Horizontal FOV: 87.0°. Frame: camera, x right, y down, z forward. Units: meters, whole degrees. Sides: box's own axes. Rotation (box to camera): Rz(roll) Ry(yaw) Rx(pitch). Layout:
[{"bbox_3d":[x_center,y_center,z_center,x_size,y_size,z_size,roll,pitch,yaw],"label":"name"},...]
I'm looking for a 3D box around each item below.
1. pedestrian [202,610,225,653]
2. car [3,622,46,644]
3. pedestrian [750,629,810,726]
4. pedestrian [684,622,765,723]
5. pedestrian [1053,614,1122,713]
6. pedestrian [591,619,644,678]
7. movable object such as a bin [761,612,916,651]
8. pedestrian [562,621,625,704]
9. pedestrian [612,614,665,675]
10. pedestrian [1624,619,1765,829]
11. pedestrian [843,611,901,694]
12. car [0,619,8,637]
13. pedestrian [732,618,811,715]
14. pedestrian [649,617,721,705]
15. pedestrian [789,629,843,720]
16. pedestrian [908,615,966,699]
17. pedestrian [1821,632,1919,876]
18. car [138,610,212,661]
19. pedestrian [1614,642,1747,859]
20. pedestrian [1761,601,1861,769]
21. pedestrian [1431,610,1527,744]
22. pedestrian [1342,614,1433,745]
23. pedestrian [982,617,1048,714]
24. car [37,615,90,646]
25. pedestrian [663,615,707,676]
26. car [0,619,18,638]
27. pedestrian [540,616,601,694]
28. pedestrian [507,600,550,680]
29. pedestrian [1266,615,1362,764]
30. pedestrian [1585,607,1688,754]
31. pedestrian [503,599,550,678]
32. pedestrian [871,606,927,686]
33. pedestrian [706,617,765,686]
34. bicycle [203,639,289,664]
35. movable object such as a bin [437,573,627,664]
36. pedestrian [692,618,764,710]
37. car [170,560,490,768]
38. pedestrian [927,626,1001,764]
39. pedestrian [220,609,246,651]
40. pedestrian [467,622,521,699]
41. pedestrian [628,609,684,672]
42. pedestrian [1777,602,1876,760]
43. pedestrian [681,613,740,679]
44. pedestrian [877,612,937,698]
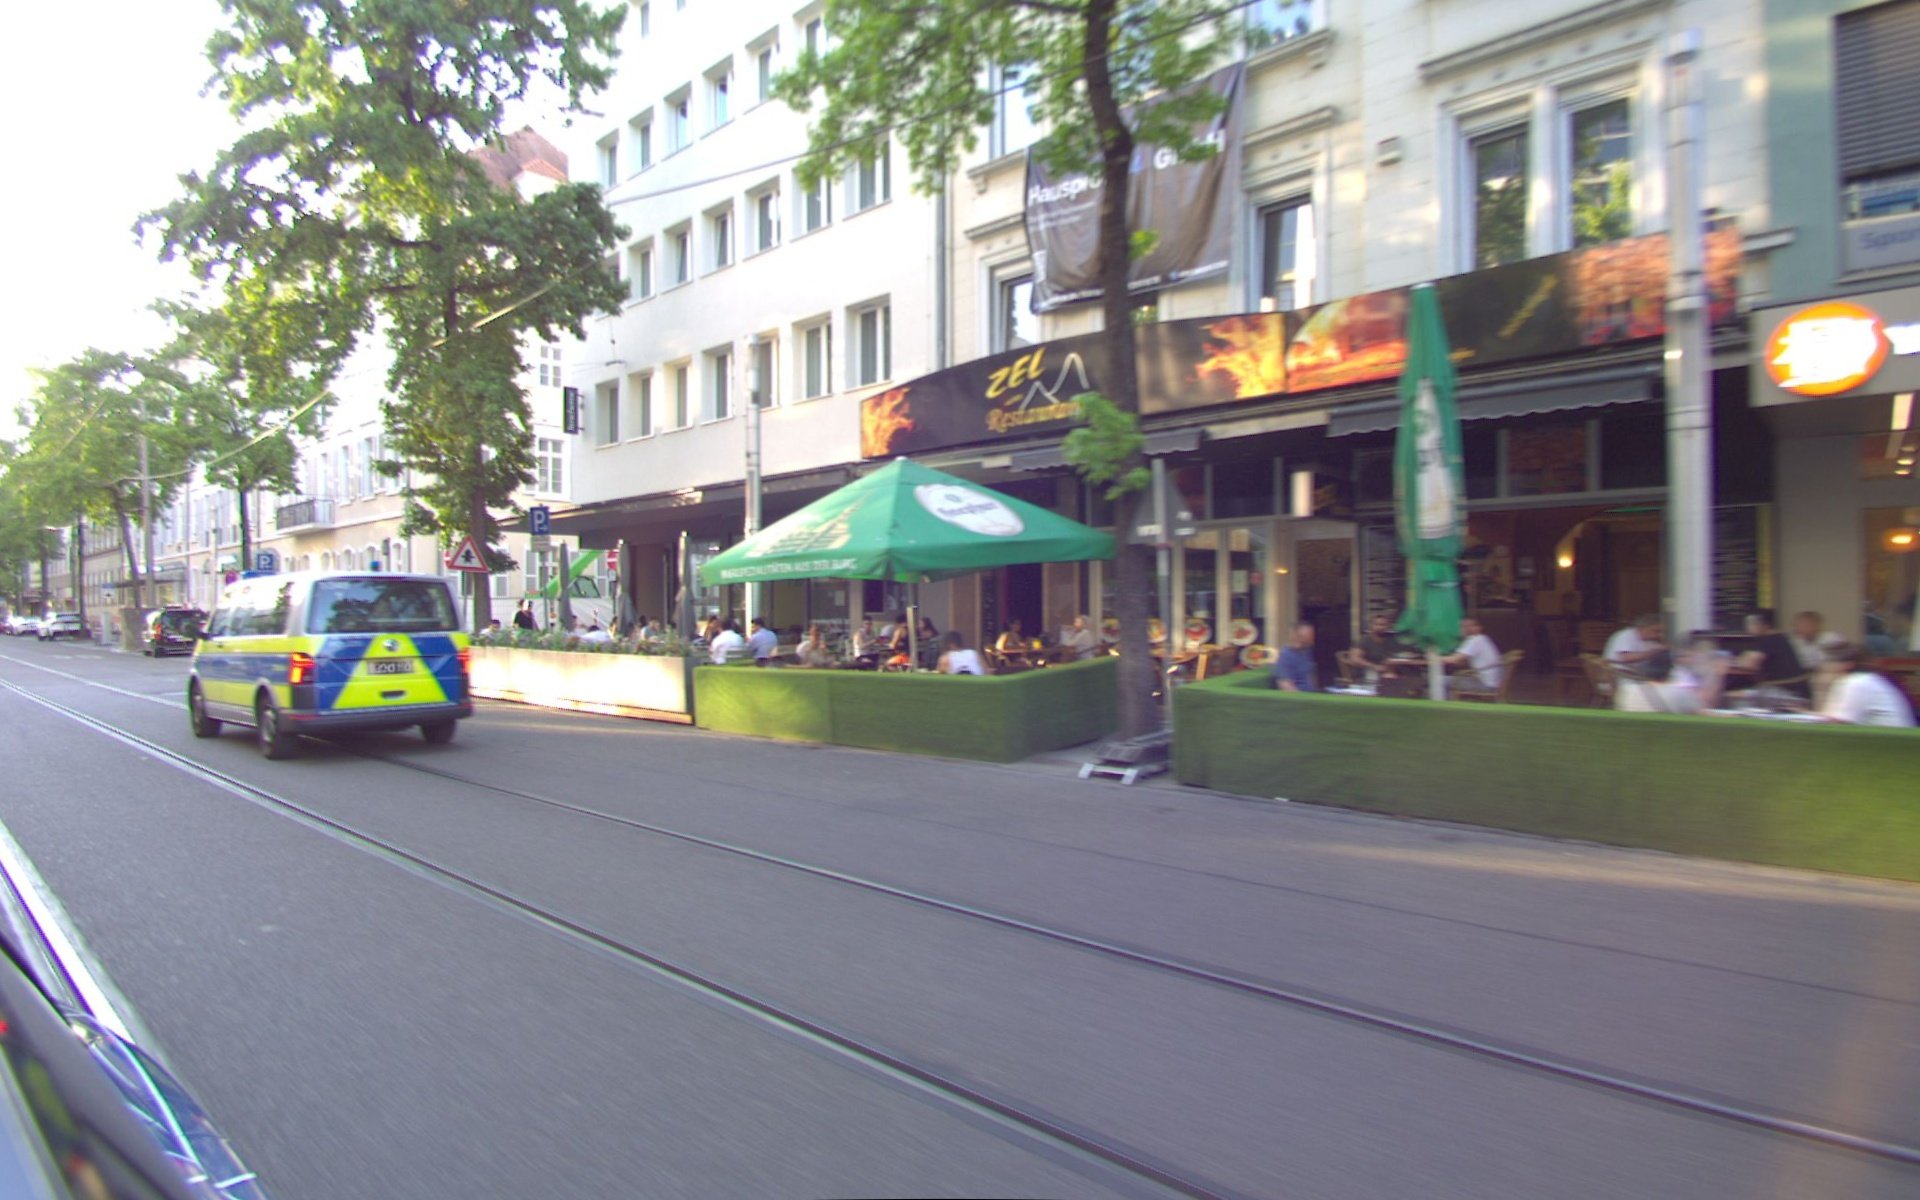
[{"bbox_3d":[-33.886,1.399,45.930,0.769,1.898,0.670,-1,1,43],"label":"pedestrian"},{"bbox_3d":[-67.554,2.340,73.068,4.104,1.514,1.972,-1,-1,42],"label":"car"},{"bbox_3d":[-2.441,1.034,13.730,0.544,1.245,0.579,-1,0,44],"label":"pedestrian"},{"bbox_3d":[-3.434,1.027,14.755,1.012,1.372,0.708,-1,0,44],"label":"pedestrian"},{"bbox_3d":[1.881,0.910,14.938,0.765,1.388,0.647,0,0,43],"label":"pedestrian"},{"bbox_3d":[-8.078,1.118,23.863,0.875,1.330,0.882,-1,0,-45],"label":"pedestrian"},{"bbox_3d":[-5.570,1.454,47.601,2.898,1.677,7.195,0,-1,40],"label":"movable object such as a bin"},{"bbox_3d":[-6.345,1.063,17.514,0.872,1.372,0.708,-1,0,44],"label":"pedestrian"},{"bbox_3d":[-7.341,1.006,23.091,0.837,1.330,0.882,-1,0,-44],"label":"pedestrian"},{"bbox_3d":[5.177,0.822,7.137,0.731,1.356,0.637,0,0,43],"label":"pedestrian"},{"bbox_3d":[-1.536,0.893,17.636,0.765,1.388,0.647,0,0,43],"label":"pedestrian"},{"bbox_3d":[-86.801,2.530,90.703,4.106,1.561,1.971,-1,-1,44],"label":"car"},{"bbox_3d":[-2.854,0.972,15.266,1.012,1.372,0.708,-1,0,44],"label":"pedestrian"},{"bbox_3d":[-4.521,0.976,16.615,1.012,1.372,0.708,-1,0,44],"label":"pedestrian"},{"bbox_3d":[-2.022,1.026,14.169,0.511,1.228,0.537,-1,0,44],"label":"pedestrian"},{"bbox_3d":[-0.391,0.962,17.508,0.765,1.388,0.647,0,0,43],"label":"pedestrian"},{"bbox_3d":[5.652,0.908,6.192,0.565,1.388,0.573,0,0,42],"label":"pedestrian"},{"bbox_3d":[-30.195,1.327,38.885,1.748,1.778,3.880,-3,2,-44],"label":"car"},{"bbox_3d":[4.672,0.933,6.564,0.641,1.276,0.545,0,0,43],"label":"pedestrian"},{"bbox_3d":[7.469,0.710,8.878,0.648,1.388,0.598,0,0,43],"label":"pedestrian"},{"bbox_3d":[5.529,0.788,10.773,0.765,1.340,0.647,0,0,43],"label":"pedestrian"},{"bbox_3d":[4.812,0.863,11.399,0.765,1.388,0.647,0,0,43],"label":"pedestrian"},{"bbox_3d":[0.829,0.966,15.305,0.765,1.388,0.647,0,0,43],"label":"pedestrian"},{"bbox_3d":[-53.803,1.818,60.709,4.104,1.751,1.972,-1,-1,42],"label":"car"},{"bbox_3d":[-6.236,1.027,22.947,0.615,1.330,0.842,-1,0,-45],"label":"pedestrian"},{"bbox_3d":[-82.254,2.435,86.794,4.106,1.588,1.971,-1,-1,44],"label":"car"},{"bbox_3d":[-7.132,0.983,18.539,0.925,1.372,0.708,-1,0,44],"label":"pedestrian"},{"bbox_3d":[-9.581,0.873,22.487,0.632,1.754,0.781,0,0,0],"label":"pedestrian"},{"bbox_3d":[3.247,0.787,9.268,0.600,1.274,0.701,0,0,42],"label":"pedestrian"},{"bbox_3d":[6.801,0.775,10.178,0.765,1.388,0.683,0,0,43],"label":"pedestrian"},{"bbox_3d":[-9.890,0.871,23.107,0.635,1.754,0.779,0,0,11],"label":"pedestrian"},{"bbox_3d":[-1.099,0.805,18.153,0.765,1.388,0.647,0,0,43],"label":"pedestrian"},{"bbox_3d":[-4.581,1.035,20.628,0.837,1.330,0.882,-1,0,-44],"label":"pedestrian"},{"bbox_3d":[-23.866,1.705,33.868,1.328,0.711,2.052,-1,0,36],"label":"bicycle"},{"bbox_3d":[-14.741,0.616,35.120,2.642,2.894,5.491,0,-1,40],"label":"movable object such as a bin"},{"bbox_3d":[-3.646,0.974,15.917,0.925,1.372,0.708,-1,0,44],"label":"pedestrian"},{"bbox_3d":[-7.646,0.646,12.050,4.848,1.991,1.972,-1,-1,42],"label":"car"},{"bbox_3d":[0.039,0.978,10.755,0.565,1.388,0.541,0,0,43],"label":"pedestrian"},{"bbox_3d":[-33.427,1.367,46.508,0.880,1.898,0.749,-1,1,43],"label":"pedestrian"},{"bbox_3d":[-8.865,1.132,19.250,0.793,1.387,0.685,-1,0,44],"label":"pedestrian"},{"bbox_3d":[-6.736,0.868,22.393,0.875,1.330,0.882,-1,0,-45],"label":"pedestrian"},{"bbox_3d":[8.019,0.713,9.369,0.679,1.388,0.531,0,0,43],"label":"pedestrian"},{"bbox_3d":[-5.251,0.948,21.300,0.875,1.330,0.882,-1,0,-45],"label":"pedestrian"},{"bbox_3d":[-0.893,0.905,17.040,0.765,1.388,0.647,0,0,43],"label":"pedestrian"}]
